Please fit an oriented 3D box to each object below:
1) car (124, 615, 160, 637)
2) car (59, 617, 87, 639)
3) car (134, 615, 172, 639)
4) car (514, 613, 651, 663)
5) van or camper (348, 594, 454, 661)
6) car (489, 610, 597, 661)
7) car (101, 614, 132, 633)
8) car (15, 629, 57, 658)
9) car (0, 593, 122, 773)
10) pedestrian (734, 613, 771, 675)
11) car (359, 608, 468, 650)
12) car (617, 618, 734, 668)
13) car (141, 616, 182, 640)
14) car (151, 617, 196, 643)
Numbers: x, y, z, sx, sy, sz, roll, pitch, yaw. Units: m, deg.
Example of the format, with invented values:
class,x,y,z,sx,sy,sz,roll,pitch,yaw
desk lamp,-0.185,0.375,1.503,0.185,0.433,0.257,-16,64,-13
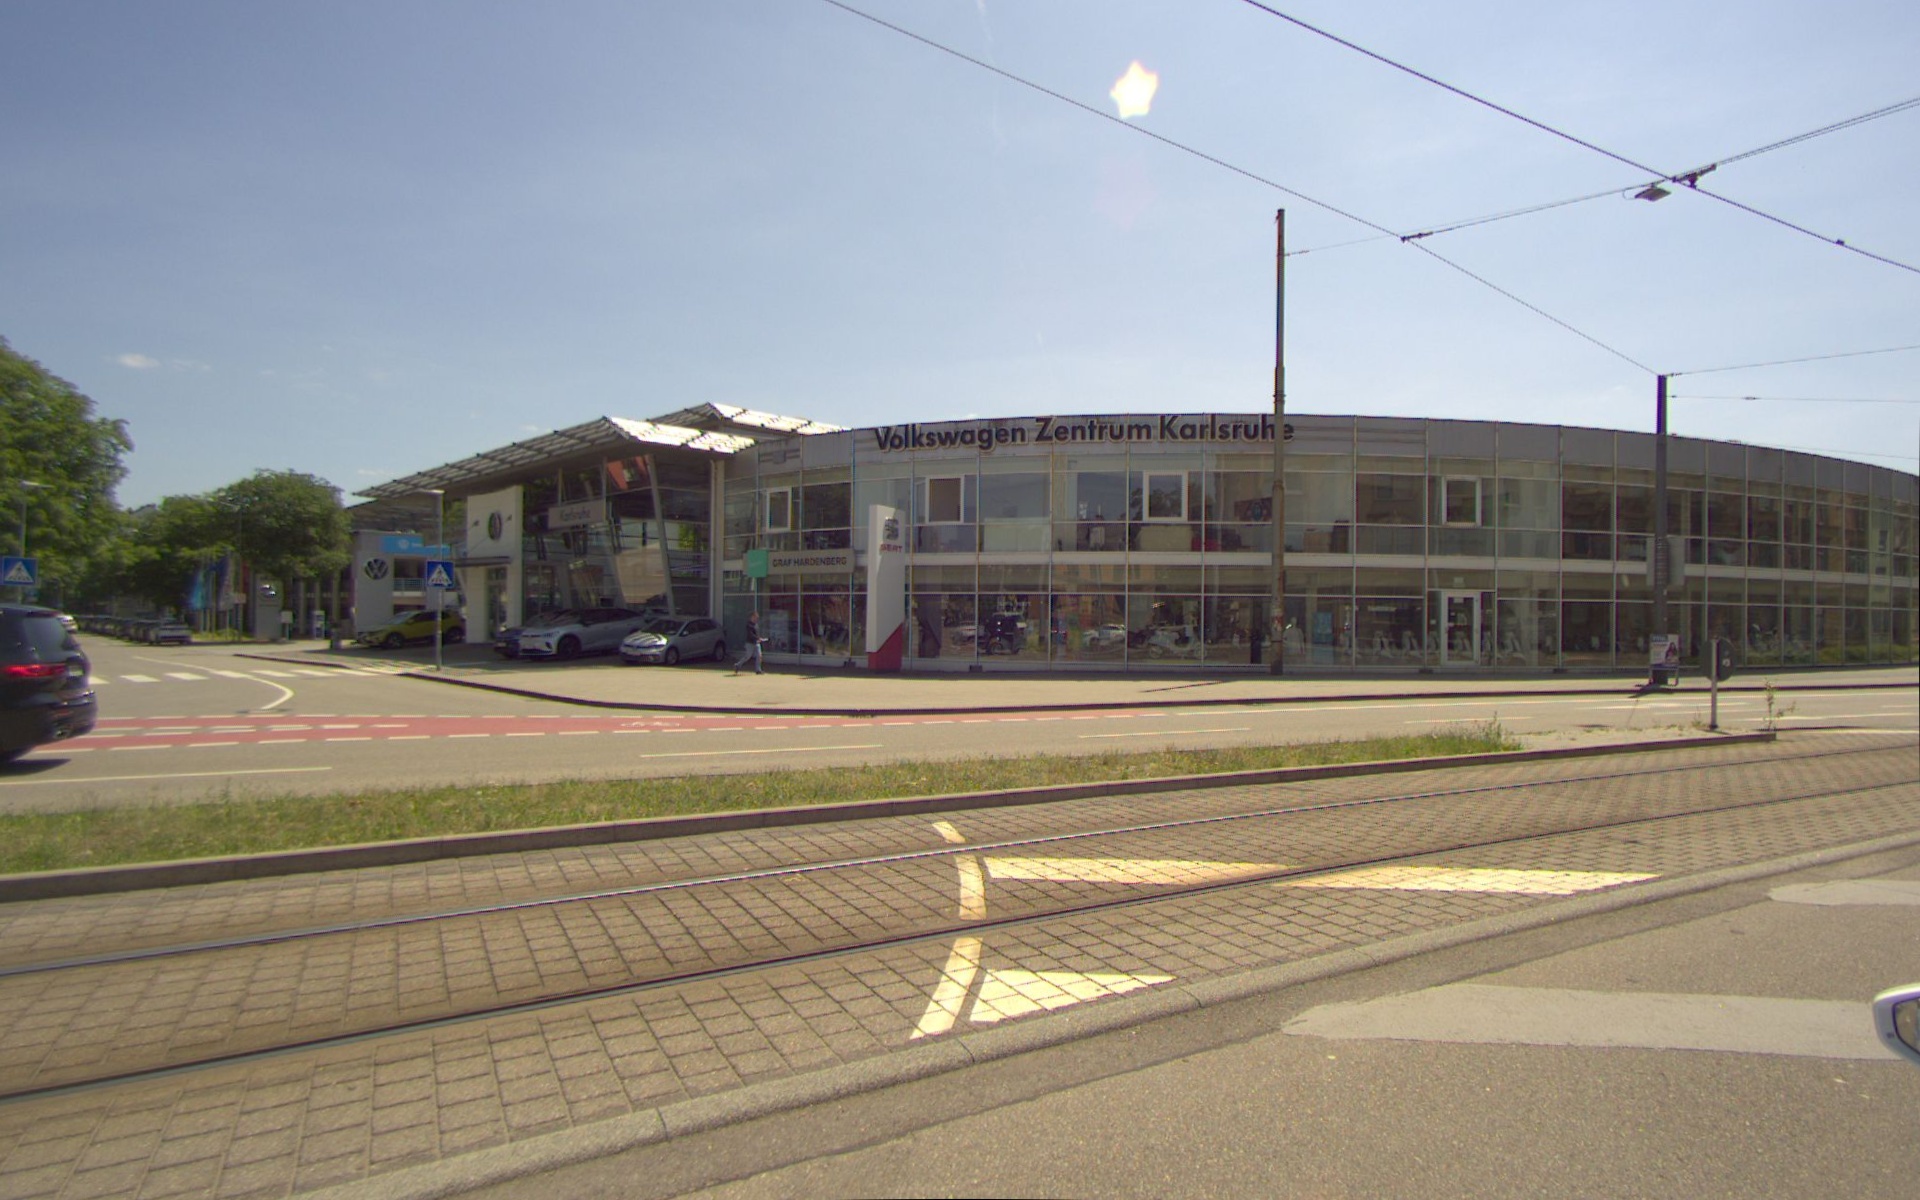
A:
class,x,y,z,sx,sy,sz,roll,pitch,yaw
car,-61.062,1.924,74.934,1.817,1.578,3.949,1,-1,-43
car,-78.858,2.464,89.305,1.769,1.817,3.949,1,-1,-43
car,-57.097,1.899,71.049,1.817,1.578,3.949,1,-1,-43
car,-12.442,1.216,33.349,1.584,1.439,4.177,0,1,32
van or camper,-26.491,1.266,47.665,1.973,3.043,3.974,0,-1,45
car,-14.369,1.194,34.768,1.402,1.639,3.326,0,-1,28
car,-73.274,2.009,87.234,1.817,1.578,3.949,1,-1,-43
car,-49.585,2.288,53.887,1.534,1.452,3.947,1,-1,-44
car,-10.724,0.758,9.130,4.473,1.648,1.813,1,-2,-31
pedestrian,-5.674,1.191,27.453,0.810,1.664,0.724,1,-1,-30
car,-24.735,1.300,45.563,1.639,1.857,4.074,0,-1,44
car,-9.078,1.342,32.342,1.473,1.476,4.055,0,-1,21
car,-53.838,1.875,67.680,1.817,1.578,3.949,1,-1,-43
car,-49.045,1.838,62.608,1.817,1.578,3.949,1,-1,-43
